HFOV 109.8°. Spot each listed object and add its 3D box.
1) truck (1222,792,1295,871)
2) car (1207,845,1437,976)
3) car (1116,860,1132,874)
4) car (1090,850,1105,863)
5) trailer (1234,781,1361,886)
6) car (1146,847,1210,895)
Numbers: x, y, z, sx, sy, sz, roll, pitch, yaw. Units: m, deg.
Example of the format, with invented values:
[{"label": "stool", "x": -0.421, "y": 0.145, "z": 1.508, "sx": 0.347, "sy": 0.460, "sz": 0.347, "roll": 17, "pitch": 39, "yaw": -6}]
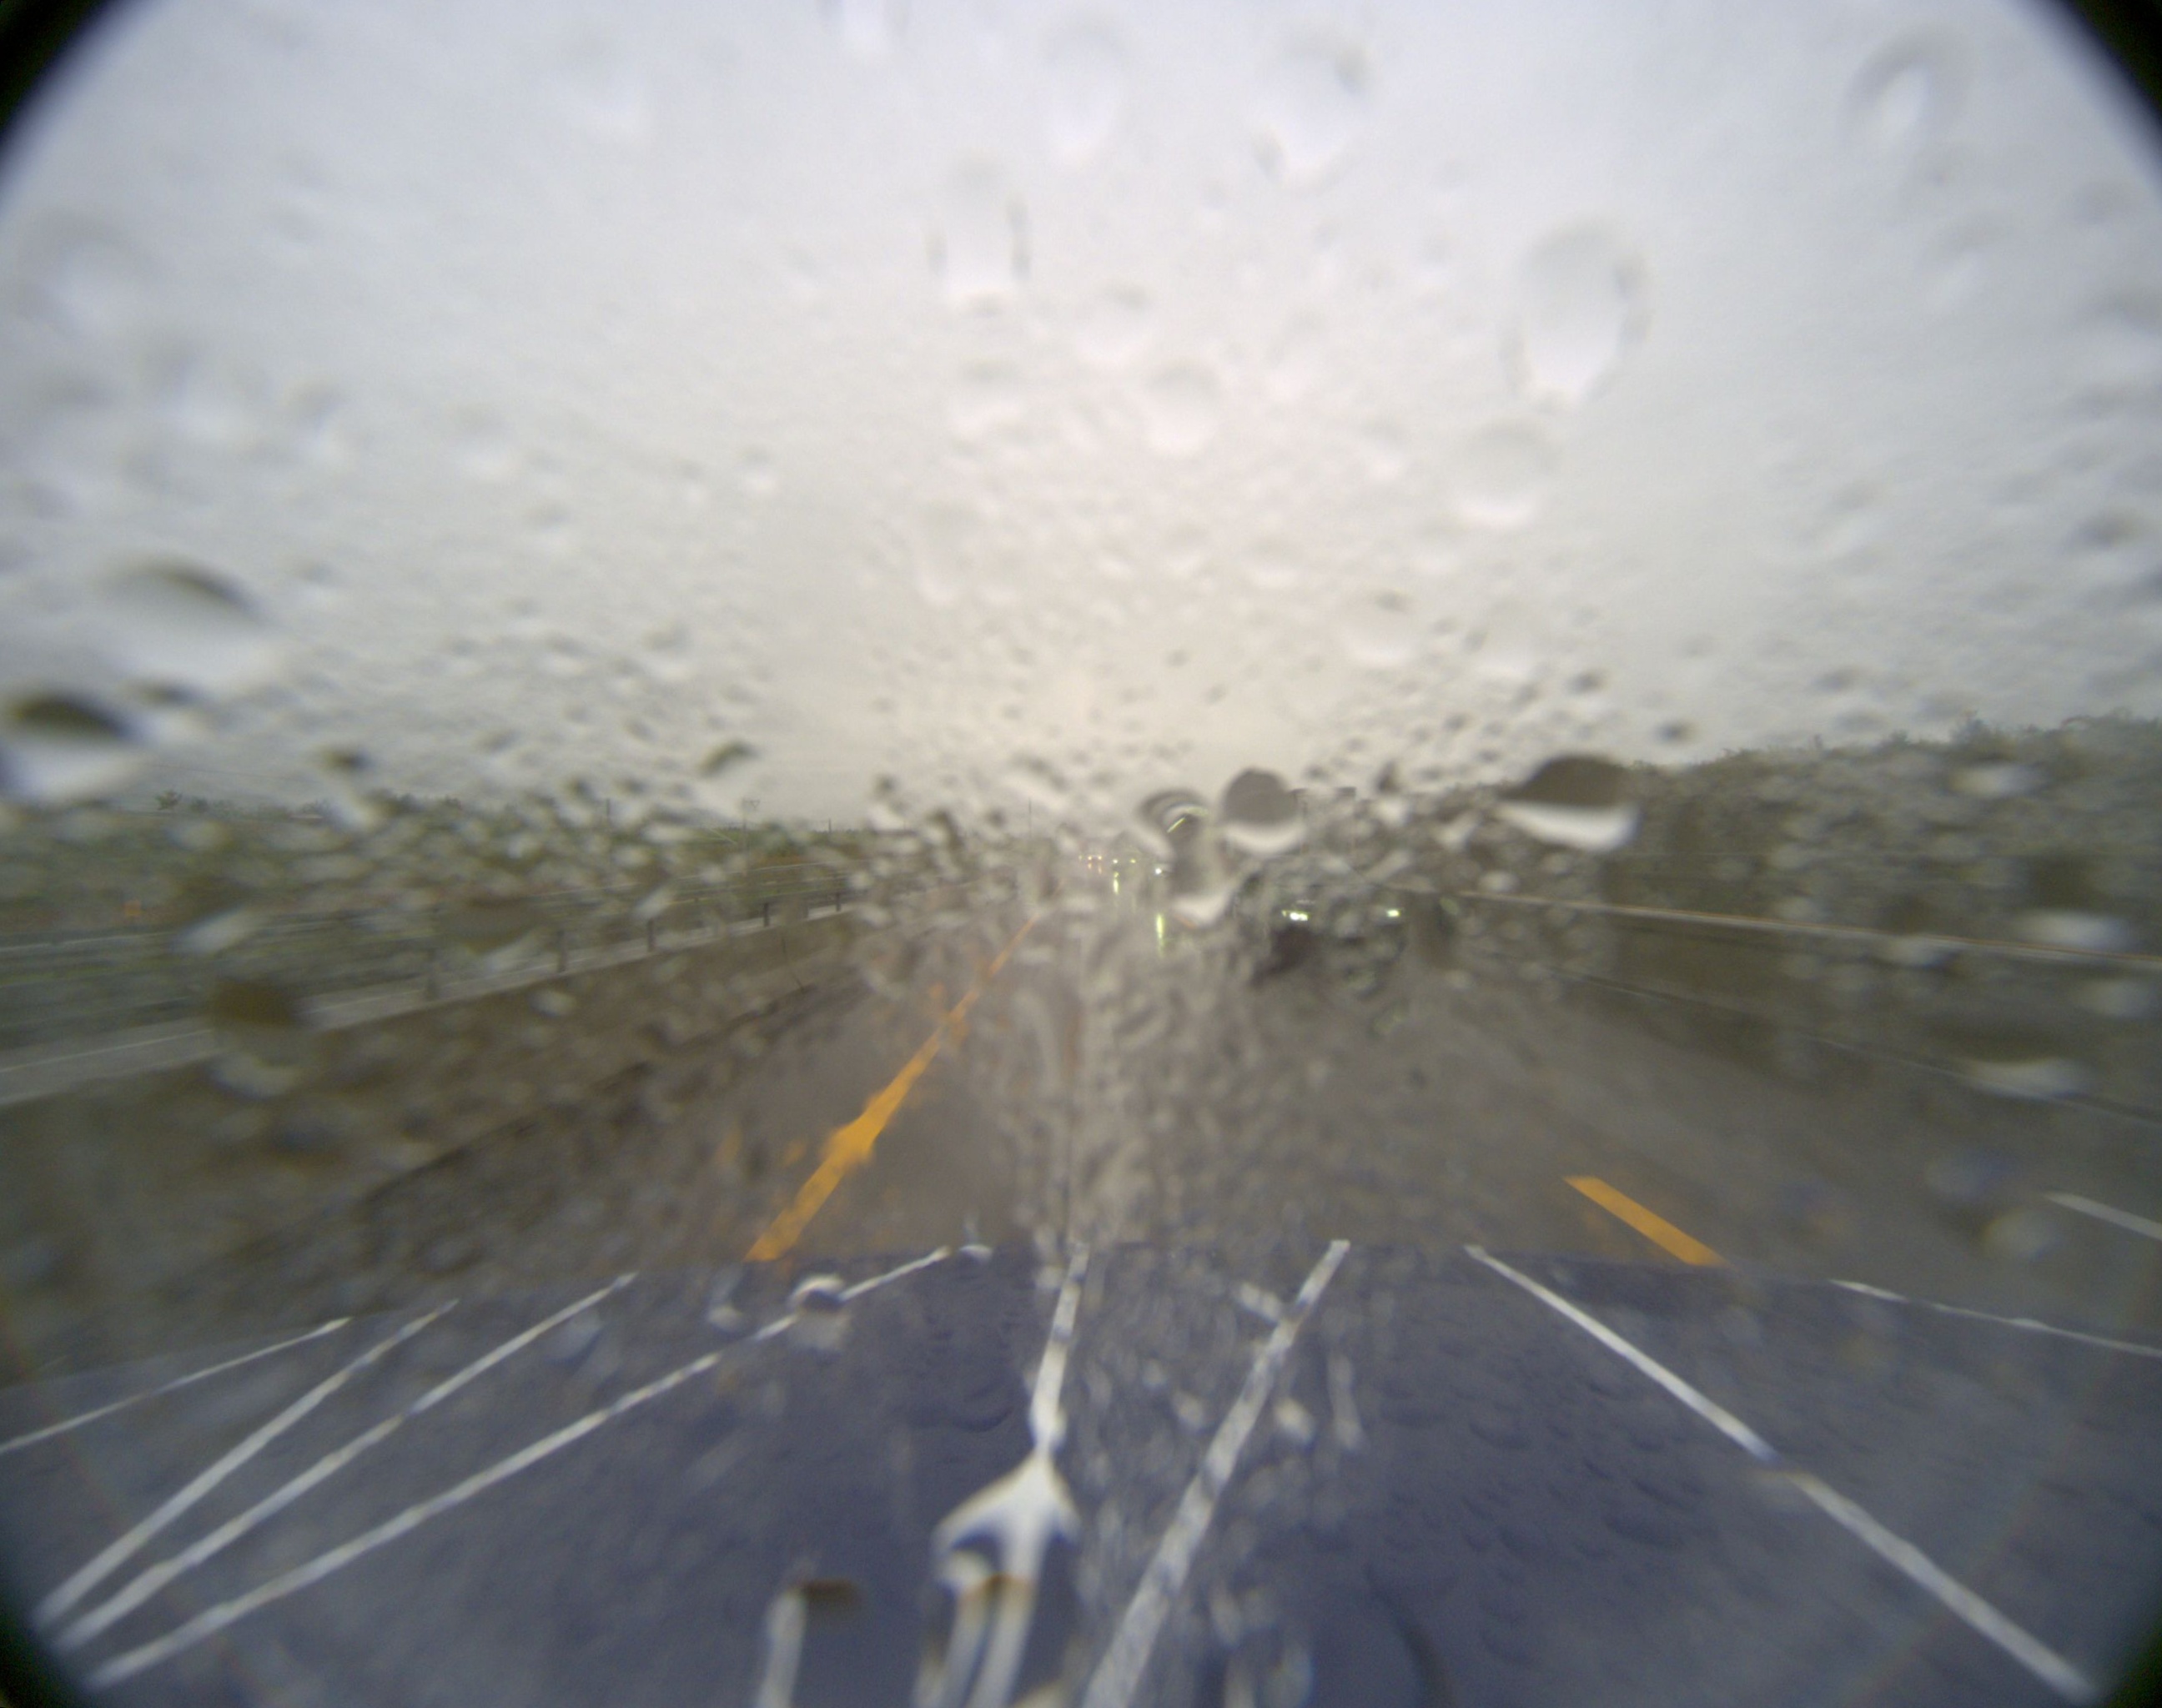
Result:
[{"label": "truck", "x": 10.429, "y": -1.292, "z": 45.373, "sx": 2.715, "sy": 4.253, "sz": 6.748, "roll": -2, "pitch": 1, "yaw": 1}, {"label": "car", "x": 3.294, "y": 0.659, "z": 11.516, "sx": 1.944, "sy": 1.519, "sz": 4.795, "roll": -2, "pitch": 0, "yaw": 0}, {"label": "car", "x": 3.702, "y": 1.113, "z": 65.787, "sx": 1.335, "sy": 1.105, "sz": 3.199, "roll": 1, "pitch": 0, "yaw": 1}, {"label": "car", "x": 2.405, "y": 0.312, "z": 111.165, "sx": 1.998, "sy": 1.762, "sz": 3.999, "roll": -2, "pitch": 1, "yaw": 0}, {"label": "trailer", "x": 10.281, "y": -0.940, "z": 38.005, "sx": 2.693, "sy": 4.253, "sz": 13.069, "roll": -2, "pitch": 1, "yaw": 1}, {"label": "car", "x": 3.749, "y": 0.613, "z": 29.944, "sx": 1.971, "sy": 1.670, "sz": 3.999, "roll": -2, "pitch": 1, "yaw": 0}]
